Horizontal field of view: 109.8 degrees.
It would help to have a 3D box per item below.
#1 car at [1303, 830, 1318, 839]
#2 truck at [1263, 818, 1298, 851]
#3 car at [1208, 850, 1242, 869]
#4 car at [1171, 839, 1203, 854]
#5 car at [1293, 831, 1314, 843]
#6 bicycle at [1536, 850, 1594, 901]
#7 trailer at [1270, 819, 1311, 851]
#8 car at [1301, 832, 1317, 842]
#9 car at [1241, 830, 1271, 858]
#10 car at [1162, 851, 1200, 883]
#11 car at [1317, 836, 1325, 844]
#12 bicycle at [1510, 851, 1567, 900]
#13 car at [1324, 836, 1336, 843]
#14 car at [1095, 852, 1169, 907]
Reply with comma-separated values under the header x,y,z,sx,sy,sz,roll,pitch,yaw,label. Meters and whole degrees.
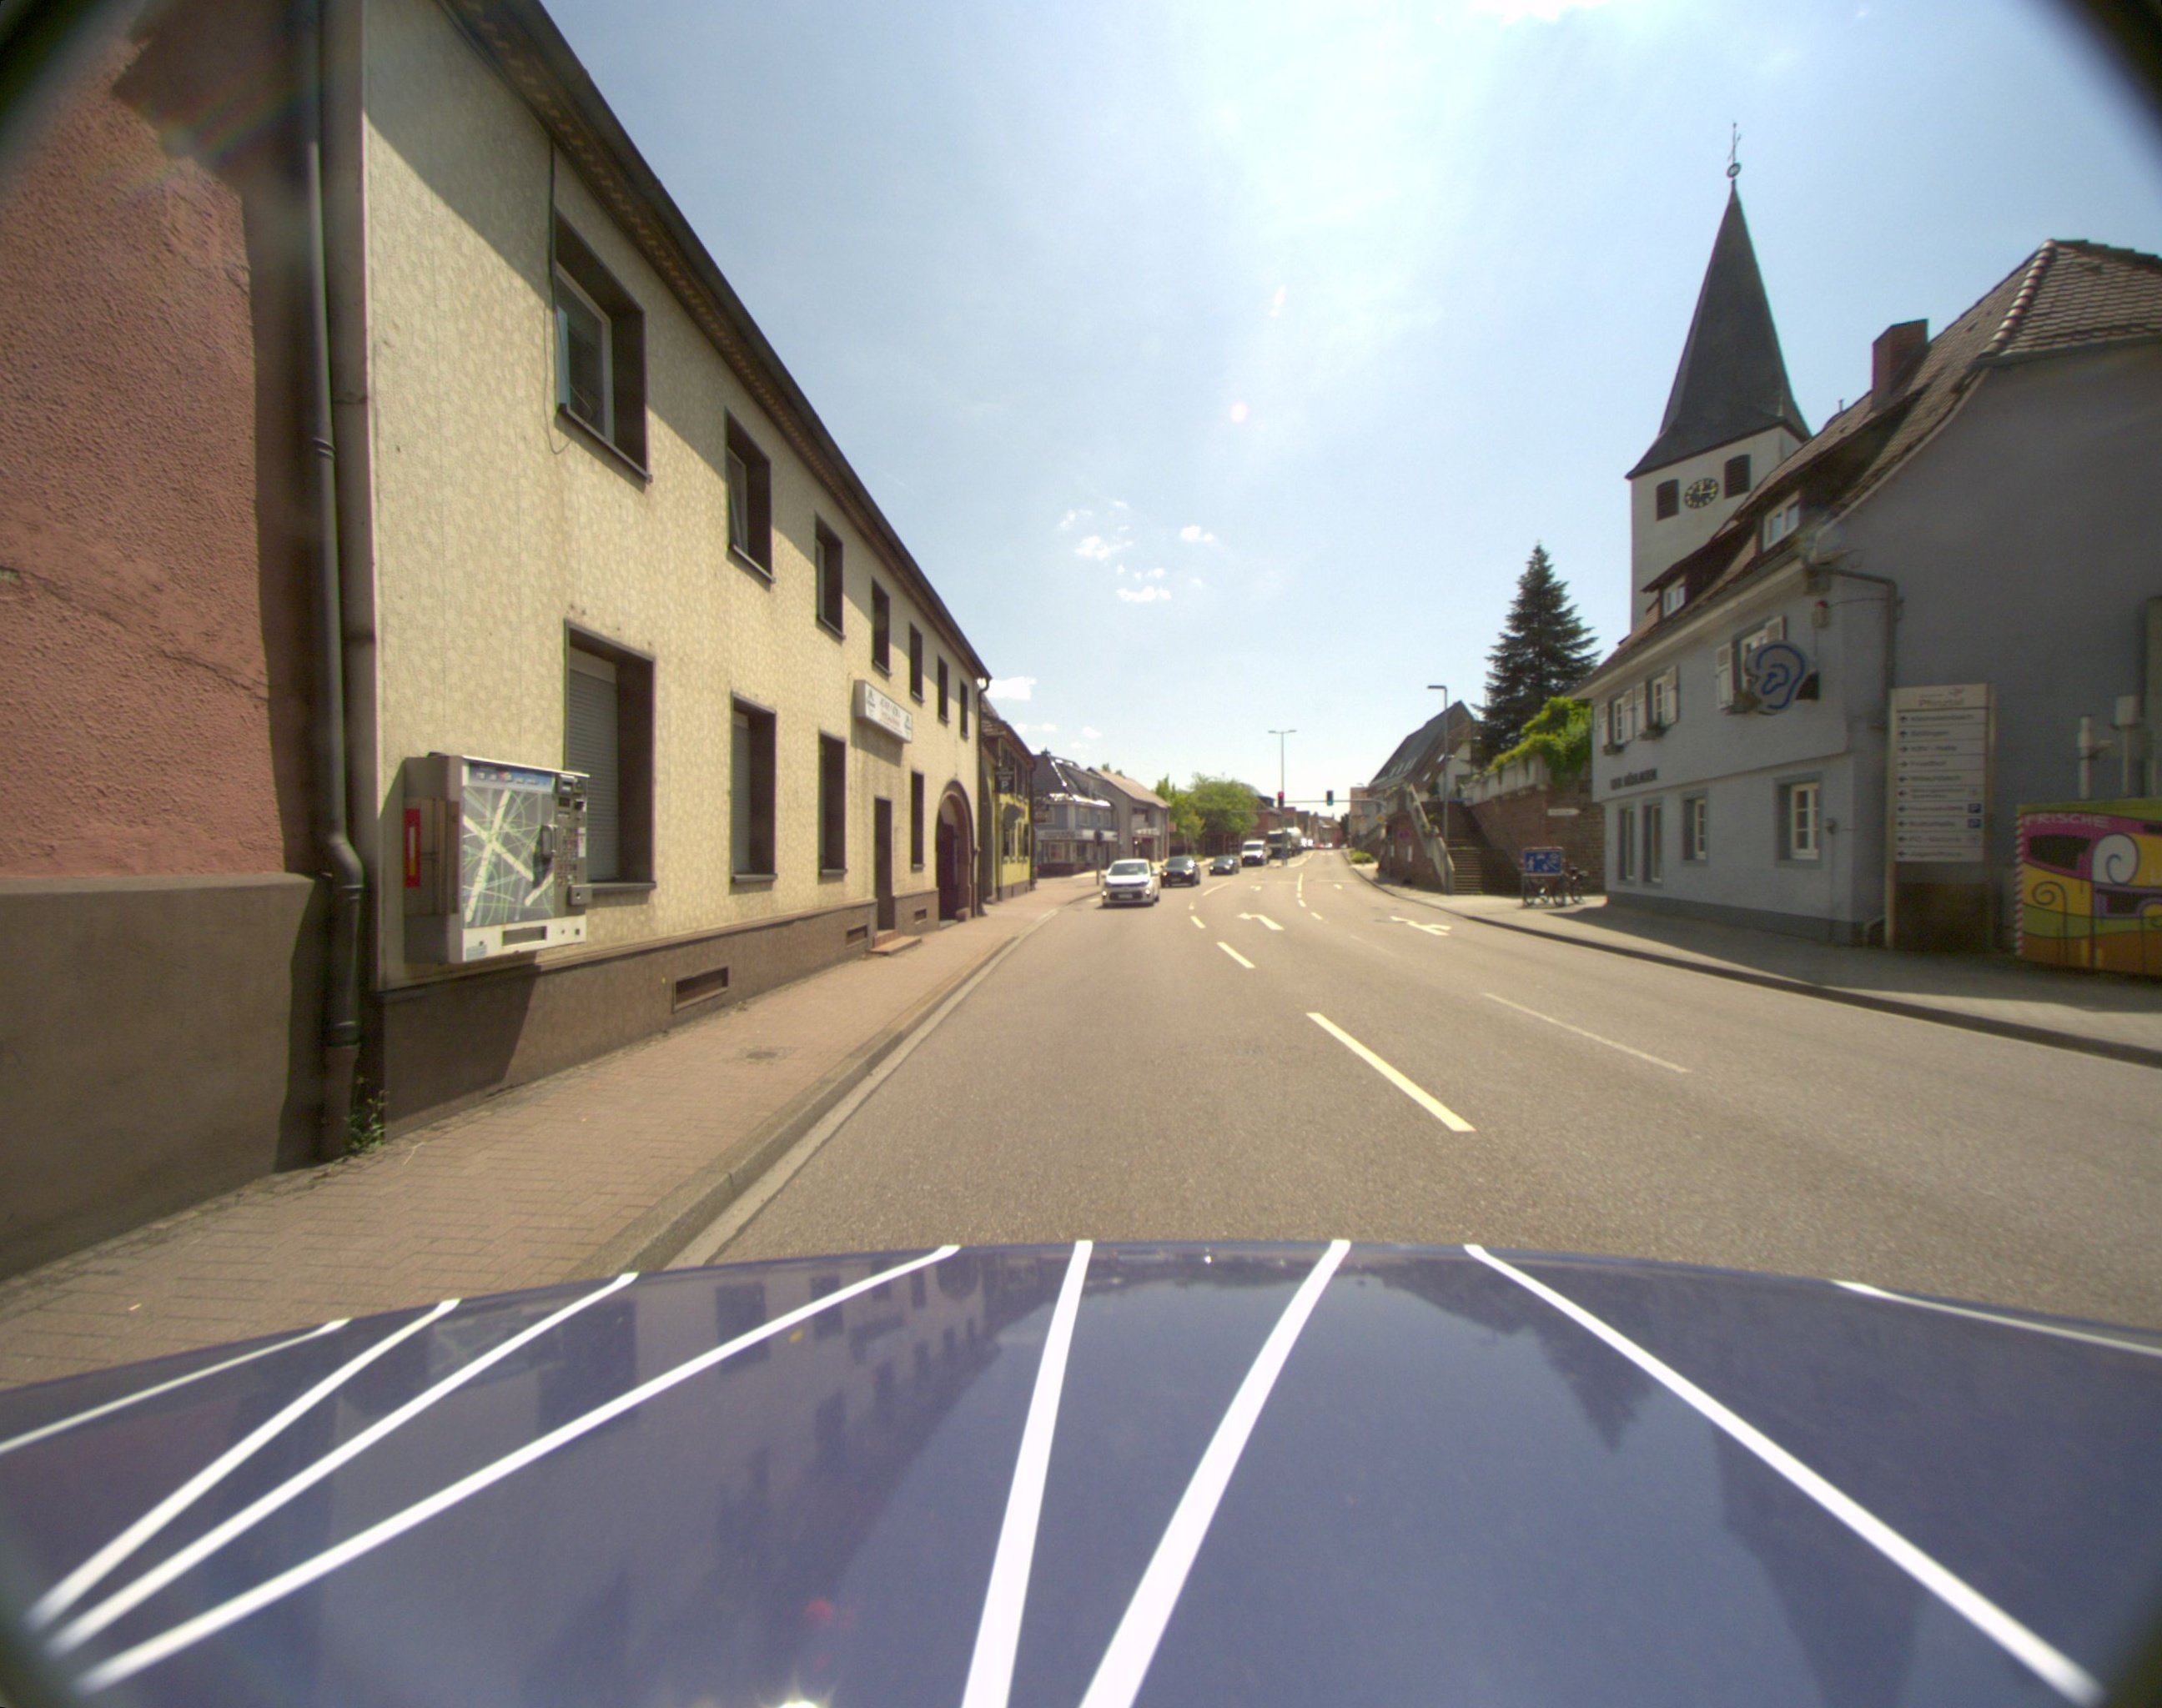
x,y,z,sx,sy,sz,roll,pitch,yaw,label
44.162,-3.757,146.061,2.008,1.621,4.585,-1,0,26,car
22.567,-2.118,85.840,2.843,3.549,5.478,-1,0,26,truck
11.149,0.395,58.563,1.926,1.358,4.309,-2,0,19,car
13.532,-0.949,97.012,3.756,1.701,1.726,-2,1,16,car
31.537,-2.423,107.550,2.008,1.621,4.586,-1,0,28,car
13.058,0.567,20.481,1.834,1.241,0.577,-3,-1,-35,bicycle
25.476,-2.241,91.889,2.833,3.549,10.984,-1,0,26,trailer
40.995,-3.006,136.622,2.008,1.621,4.586,-1,0,27,car
16.734,-0.967,72.509,2.172,2.549,4.831,-1,0,21,car
5.596,0.675,42.021,1.723,1.541,4.306,-2,0,12,car
57.854,-3.352,183.035,1.763,1.775,4.005,-2,0,20,car
12.628,0.580,20.970,1.834,1.241,0.577,-3,-1,-35,bicycle
57.765,-3.421,176.337,2.008,1.621,4.586,-1,0,28,car
1.784,0.777,25.102,1.723,1.541,4.307,-2,0,13,car
